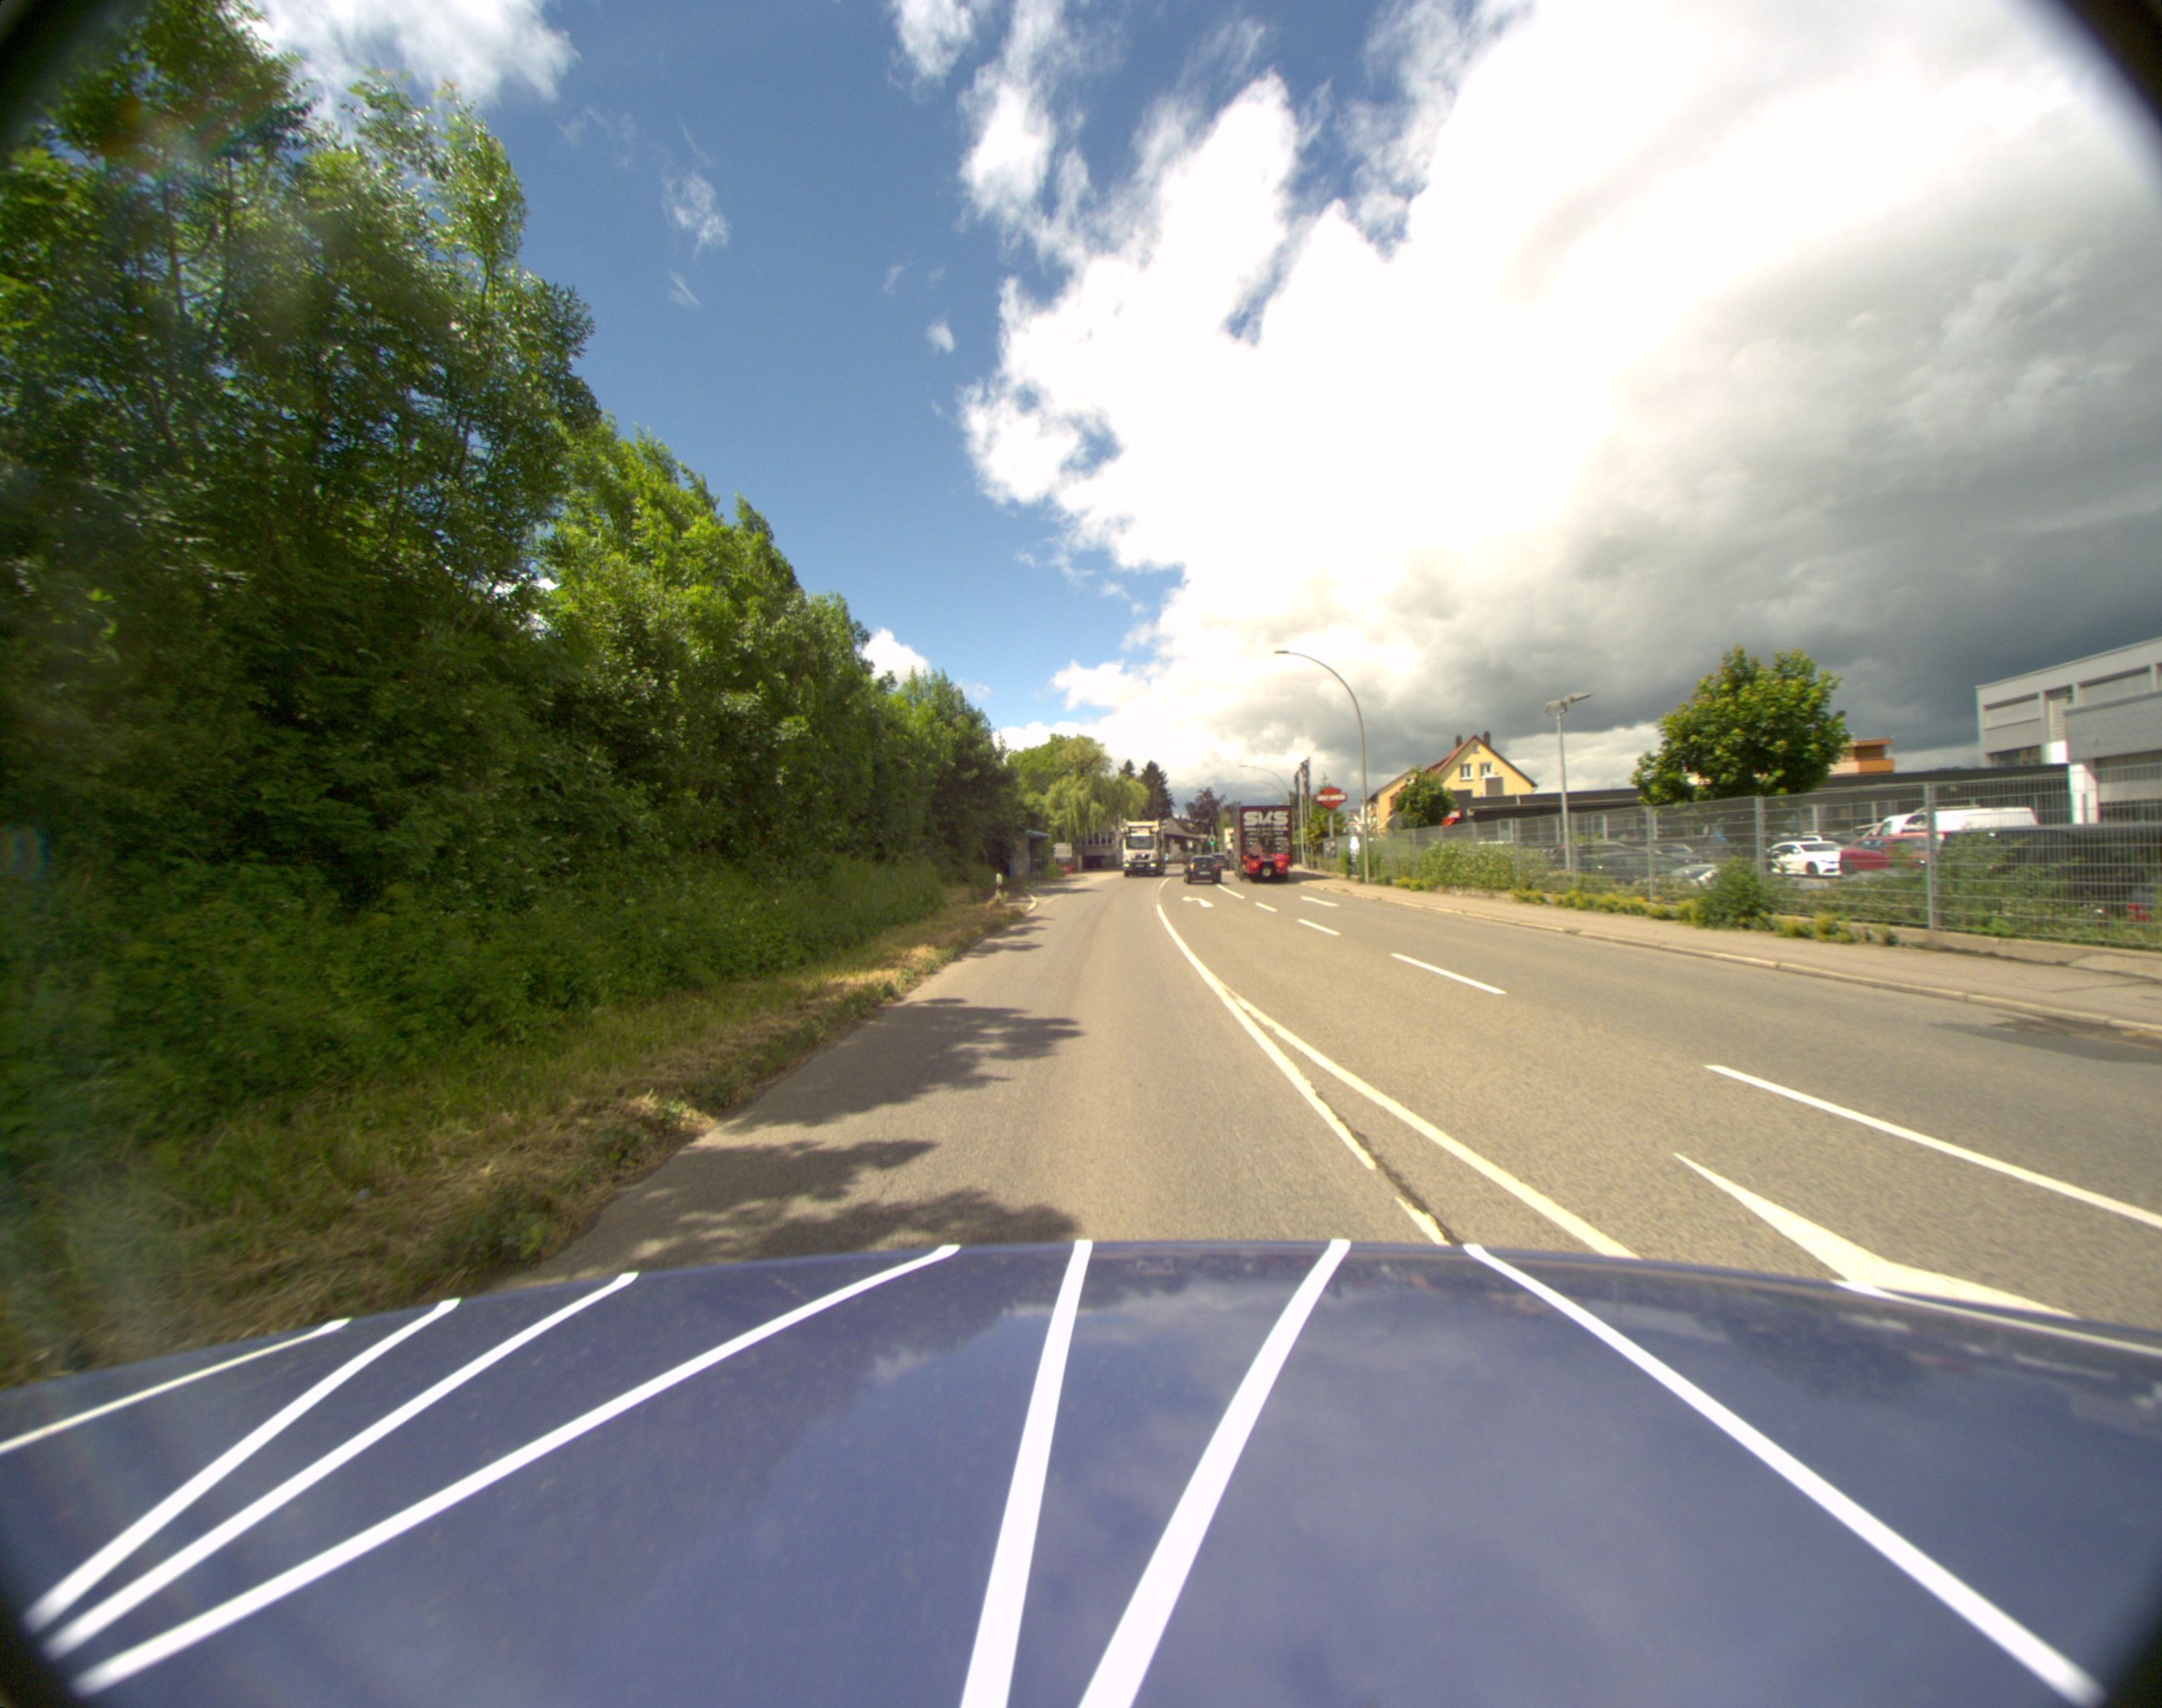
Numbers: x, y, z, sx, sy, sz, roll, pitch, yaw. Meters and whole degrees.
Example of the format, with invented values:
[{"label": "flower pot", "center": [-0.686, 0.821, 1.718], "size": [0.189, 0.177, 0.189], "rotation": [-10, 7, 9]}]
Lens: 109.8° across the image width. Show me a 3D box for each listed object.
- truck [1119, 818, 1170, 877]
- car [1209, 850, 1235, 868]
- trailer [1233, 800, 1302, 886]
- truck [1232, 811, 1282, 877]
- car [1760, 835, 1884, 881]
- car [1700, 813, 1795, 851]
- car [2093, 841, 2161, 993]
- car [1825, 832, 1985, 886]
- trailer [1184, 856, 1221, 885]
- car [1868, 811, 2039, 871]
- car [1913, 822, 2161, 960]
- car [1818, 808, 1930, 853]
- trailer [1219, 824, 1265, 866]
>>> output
[{"label": "truck", "center": [4.774, -0.447, 55.218], "size": [2.663, 3.789, 9.822], "rotation": [-2, 0, 10]}, {"label": "car", "center": [11.801, 0.379, 63.866], "size": [1.843, 1.455, 4.255], "rotation": [0, 0, 6]}, {"label": "trailer", "center": [10.476, -0.576, 44.199], "size": [2.804, 4.029, 15.567], "rotation": [-2, 0, 10]}, {"label": "truck", "center": [11.679, -0.645, 51.006], "size": [2.804, 4.029, 6.506], "rotation": [-2, 0, 10]}, {"label": "car", "center": [28.904, 0.109, 29.820], "size": [1.724, 1.596, 4.155], "rotation": [-2, 1, 16]}, {"label": "car", "center": [30.830, -1.017, 35.309], "size": [1.724, 1.596, 4.155], "rotation": [-2, 1, 16]}, {"label": "car", "center": [14.267, 0.643, 8.039], "size": [4.200, 1.691, 1.926], "rotation": [-2, 0, 6]}, {"label": "car", "center": [27.474, 0.115, 25.538], "size": [1.724, 1.596, 4.155], "rotation": [-2, 1, 16]}, {"label": "trailer", "center": [6.189, 0.821, 38.943], "size": [1.651, 1.415, 4.002], "rotation": [-1, 0, 6]}, {"label": "car", "center": [30.916, -0.476, 27.167], "size": [1.781, 1.889, 4.736], "rotation": [-2, 1, 17]}, {"label": "car", "center": [15.032, 0.427, 10.627], "size": [4.200, 1.691, 2.174], "rotation": [-2, 0, 5]}, {"label": "car", "center": [38.920, -1.150, 37.459], "size": [1.996, 2.002, 4.342], "rotation": [-2, 1, 18]}, {"label": "trailer", "center": [17.859, -1.033, 83.315], "size": [2.774, 4.120, 15.370], "rotation": [-2, 0, 19]}]
